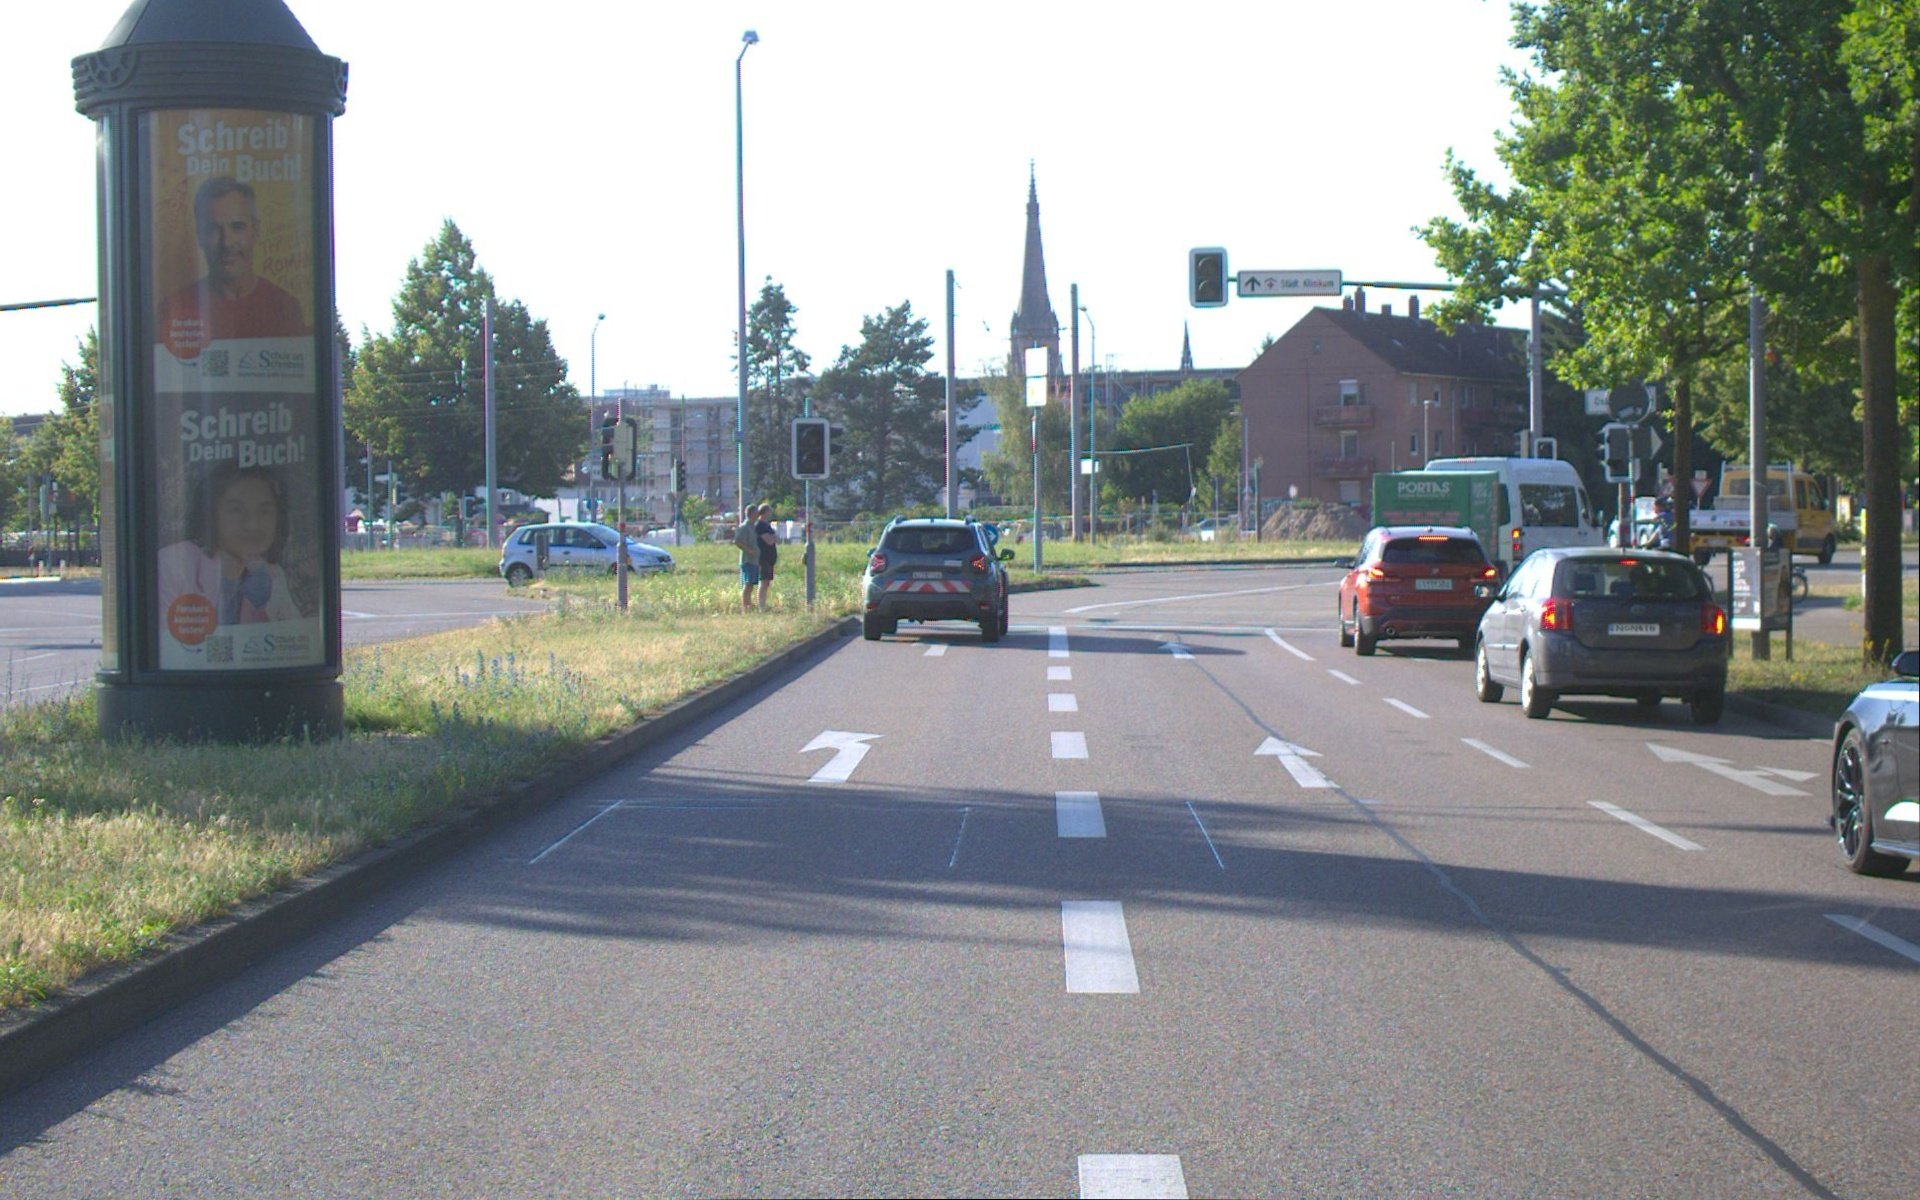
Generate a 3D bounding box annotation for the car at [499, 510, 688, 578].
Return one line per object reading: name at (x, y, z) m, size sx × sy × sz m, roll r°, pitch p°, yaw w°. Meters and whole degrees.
car at (-8.117, -1.244, 76.232) m, size 3.749 × 1.429 × 1.835 m, roll -1°, pitch 2°, yaw 16°

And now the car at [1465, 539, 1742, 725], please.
car at (5.624, 0.233, 30.449) m, size 1.747 × 1.468 × 3.820 m, roll -1°, pitch 2°, yaw 1°

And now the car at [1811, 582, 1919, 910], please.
car at (4.987, 0.651, 14.317) m, size 1.854 × 1.333 × 4.625 m, roll 0°, pitch 2°, yaw 2°

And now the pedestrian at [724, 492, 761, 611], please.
pedestrian at (-3.402, -0.765, 53.720) m, size 0.486 × 1.837 × 0.719 m, roll -2°, pitch 1°, yaw -1°

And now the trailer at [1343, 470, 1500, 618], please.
trailer at (7.802, -0.962, 57.856) m, size 2.091 × 2.392 × 3.498 m, roll 1°, pitch 2°, yaw 16°

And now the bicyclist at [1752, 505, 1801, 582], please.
bicyclist at (13.923, -0.962, 58.610) m, size 0.648 × 1.290 × 0.466 m, roll -2°, pitch 2°, yaw -16°

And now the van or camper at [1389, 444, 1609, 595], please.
van or camper at (10.022, -1.510, 63.417) m, size 2.288 × 2.620 × 6.574 m, roll 1°, pitch 2°, yaw 25°

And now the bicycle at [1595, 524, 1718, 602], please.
bicycle at (11.653, -0.613, 57.526) m, size 1.908 × 1.240 × 0.608 m, roll -2°, pitch 1°, yaw 38°

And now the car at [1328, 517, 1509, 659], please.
car at (5.776, -0.190, 43.700) m, size 1.747 × 1.615 × 3.820 m, roll 2°, pitch 2°, yaw 0°

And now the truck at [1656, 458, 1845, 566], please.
truck at (19.386, -2.200, 84.092) m, size 2.585 × 2.549 × 6.240 m, roll 1°, pitch 3°, yaw 32°

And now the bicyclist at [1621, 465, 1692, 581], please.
bicyclist at (11.648, -1.284, 57.500) m, size 0.938 × 1.892 × 0.600 m, roll -2°, pitch 1°, yaw 38°

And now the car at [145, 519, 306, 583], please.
car at (-17.476, -1.167, 81.666) m, size 1.904 × 1.439 × 4.137 m, roll -3°, pitch 2°, yaw -42°

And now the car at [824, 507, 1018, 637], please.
car at (-0.579, -0.409, 46.609) m, size 1.905 × 1.654 × 4.001 m, roll -1°, pitch 1°, yaw -11°

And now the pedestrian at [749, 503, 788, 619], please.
pedestrian at (-3.053, -0.627, 54.847) m, size 0.486 × 1.837 × 0.672 m, roll -1°, pitch 1°, yaw 5°

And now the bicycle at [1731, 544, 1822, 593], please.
bicycle at (13.915, -0.543, 58.613) m, size 1.459 × 0.783 × 0.440 m, roll -2°, pitch 2°, yaw -16°

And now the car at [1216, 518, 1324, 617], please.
car at (5.288, -0.587, 59.010) m, size 1.602 × 1.604 × 4.000 m, roll -1°, pitch 2°, yaw 2°
